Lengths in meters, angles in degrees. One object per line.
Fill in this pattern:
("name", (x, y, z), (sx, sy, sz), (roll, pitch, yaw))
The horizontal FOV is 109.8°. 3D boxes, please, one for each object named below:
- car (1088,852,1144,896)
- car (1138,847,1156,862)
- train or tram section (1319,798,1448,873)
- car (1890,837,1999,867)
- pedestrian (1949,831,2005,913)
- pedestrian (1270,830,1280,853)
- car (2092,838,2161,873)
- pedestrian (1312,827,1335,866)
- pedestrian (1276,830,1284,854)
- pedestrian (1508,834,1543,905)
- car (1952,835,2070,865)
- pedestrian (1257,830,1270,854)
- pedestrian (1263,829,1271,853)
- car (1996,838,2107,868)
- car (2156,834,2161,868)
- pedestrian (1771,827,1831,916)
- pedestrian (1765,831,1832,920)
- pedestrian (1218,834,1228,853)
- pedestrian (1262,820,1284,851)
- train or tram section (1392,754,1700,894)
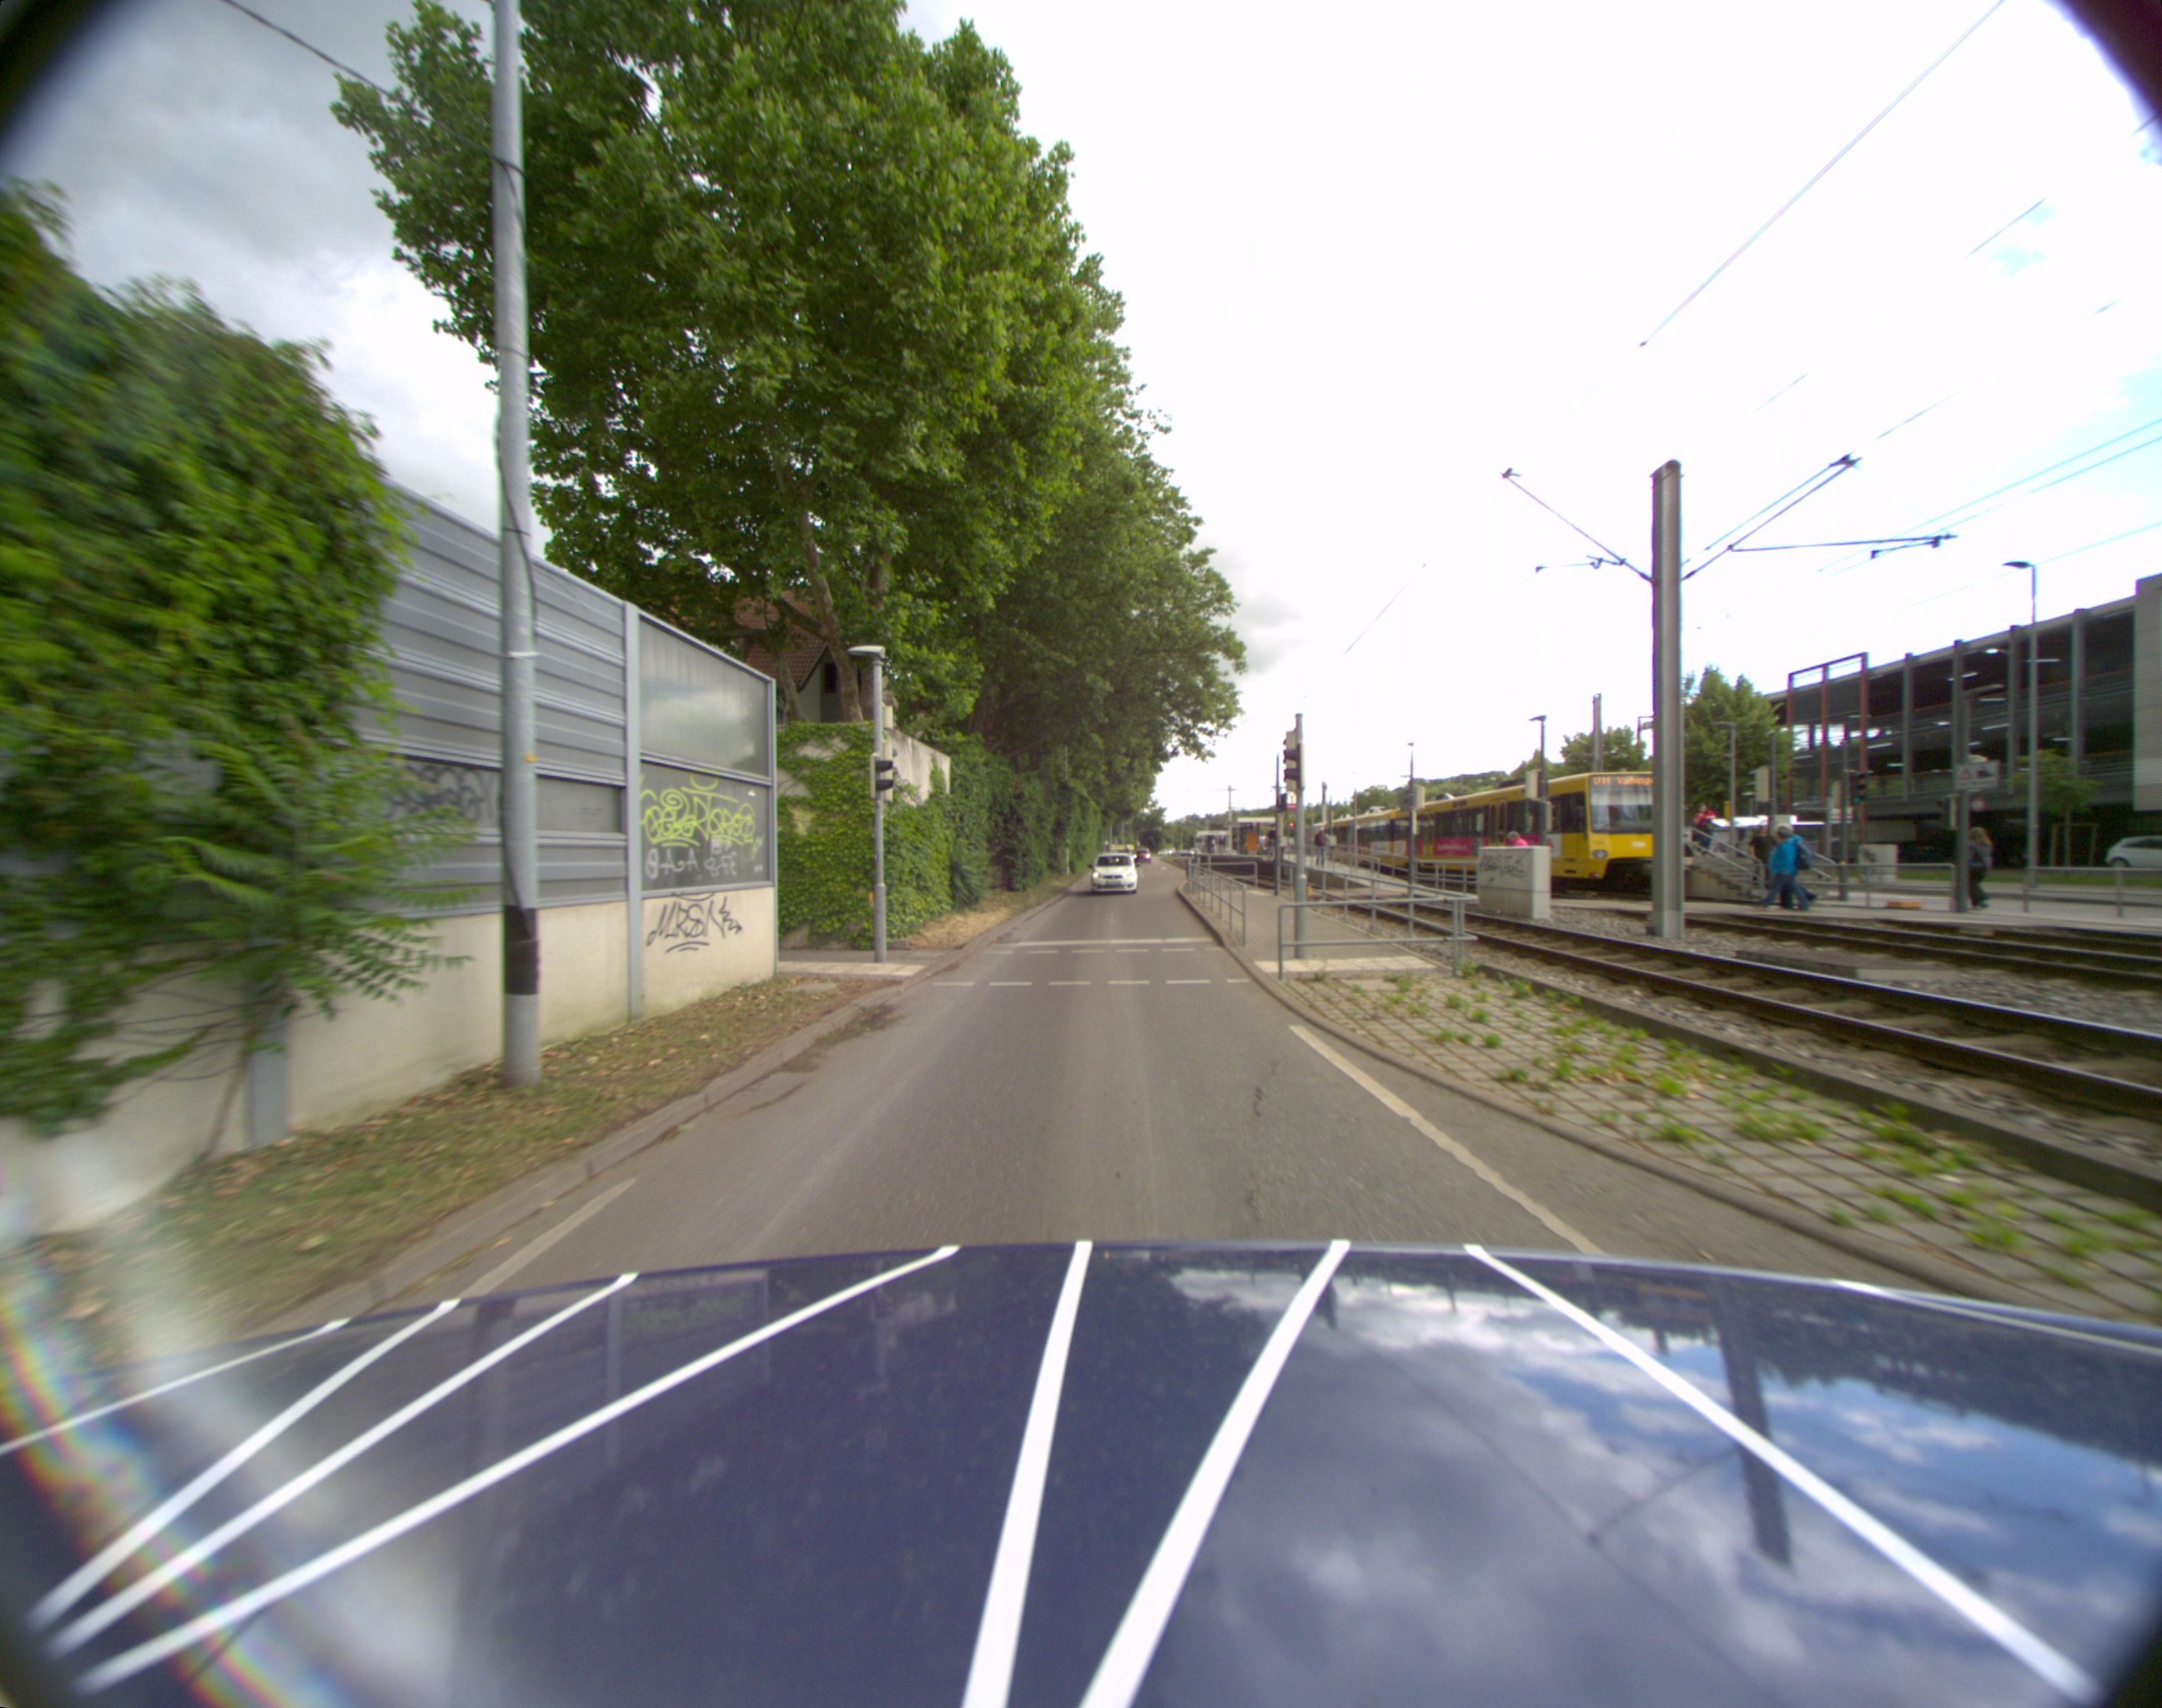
("car", (1.229, 0.678, 28.268), (1.674, 1.439, 3.603), (-3, 1, -3))
("car", (7.236, 0.037, 83.140), (1.895, 1.607, 4.510), (-1, 1, 6))
("train or tram section", (18.596, -1.048, 48.719), (2.762, 3.860, 18.638), (-1, 0, 6))
("car", (46.581, -0.113, 41.124), (1.727, 1.506, 3.796), (1, 1, 5))
("pedestrian", (18.394, 0.367, 15.606), (0.517, 1.652, 0.466), (1, 1, 15))
("pedestrian", (11.786, -0.774, 46.097), (0.480, 1.397, 0.411), (1, 1, 3))
("car", (43.061, 0.073, 29.747), (1.782, 1.390, 4.001), (1, 1, 6))
("pedestrian", (10.633, -0.333, 33.339), (0.773, 1.668, 0.791), (1, 1, 4))
("pedestrian", (12.193, -0.742, 46.543), (0.476, 1.475, 0.543), (1, 1, 15))
("pedestrian", (10.616, 0.363, 18.155), (0.613, 1.644, 0.797), (2, 1, 26))
("car", (49.306, -0.213, 40.389), (1.727, 1.506, 3.796), (1, 1, 5))
("pedestrian", (11.476, -0.763, 47.757), (0.519, 1.474, 0.583), (2, 2, 43))
("pedestrian", (11.481, -0.823, 46.910), (0.361, 1.456, 0.639), (0, 1, 4))
("car", (51.542, -0.084, 40.444), (1.562, 1.502, 3.393), (1, 1, 3))
("car", (45.455, -0.082, 29.534), (1.782, 1.395, 4.001), (1, 1, 6))
("pedestrian", (14.195, 0.330, 15.004), (0.655, 1.688, 0.730), (2, 2, 30))
("pedestrian", (13.517, 0.383, 14.343), (0.712, 1.602, 0.943), (2, 2, 33))
("pedestrian", (13.430, -0.985, 71.860), (0.750, 1.734, 0.937), (1, 1, 5))
("pedestrian", (10.393, -1.010, 41.210), (0.878, 1.668, 0.743), (0, 2, -42))
("train or tram section", (16.562, -0.886, 30.161), (2.762, 3.806, 18.638), (-1, 0, 6))
